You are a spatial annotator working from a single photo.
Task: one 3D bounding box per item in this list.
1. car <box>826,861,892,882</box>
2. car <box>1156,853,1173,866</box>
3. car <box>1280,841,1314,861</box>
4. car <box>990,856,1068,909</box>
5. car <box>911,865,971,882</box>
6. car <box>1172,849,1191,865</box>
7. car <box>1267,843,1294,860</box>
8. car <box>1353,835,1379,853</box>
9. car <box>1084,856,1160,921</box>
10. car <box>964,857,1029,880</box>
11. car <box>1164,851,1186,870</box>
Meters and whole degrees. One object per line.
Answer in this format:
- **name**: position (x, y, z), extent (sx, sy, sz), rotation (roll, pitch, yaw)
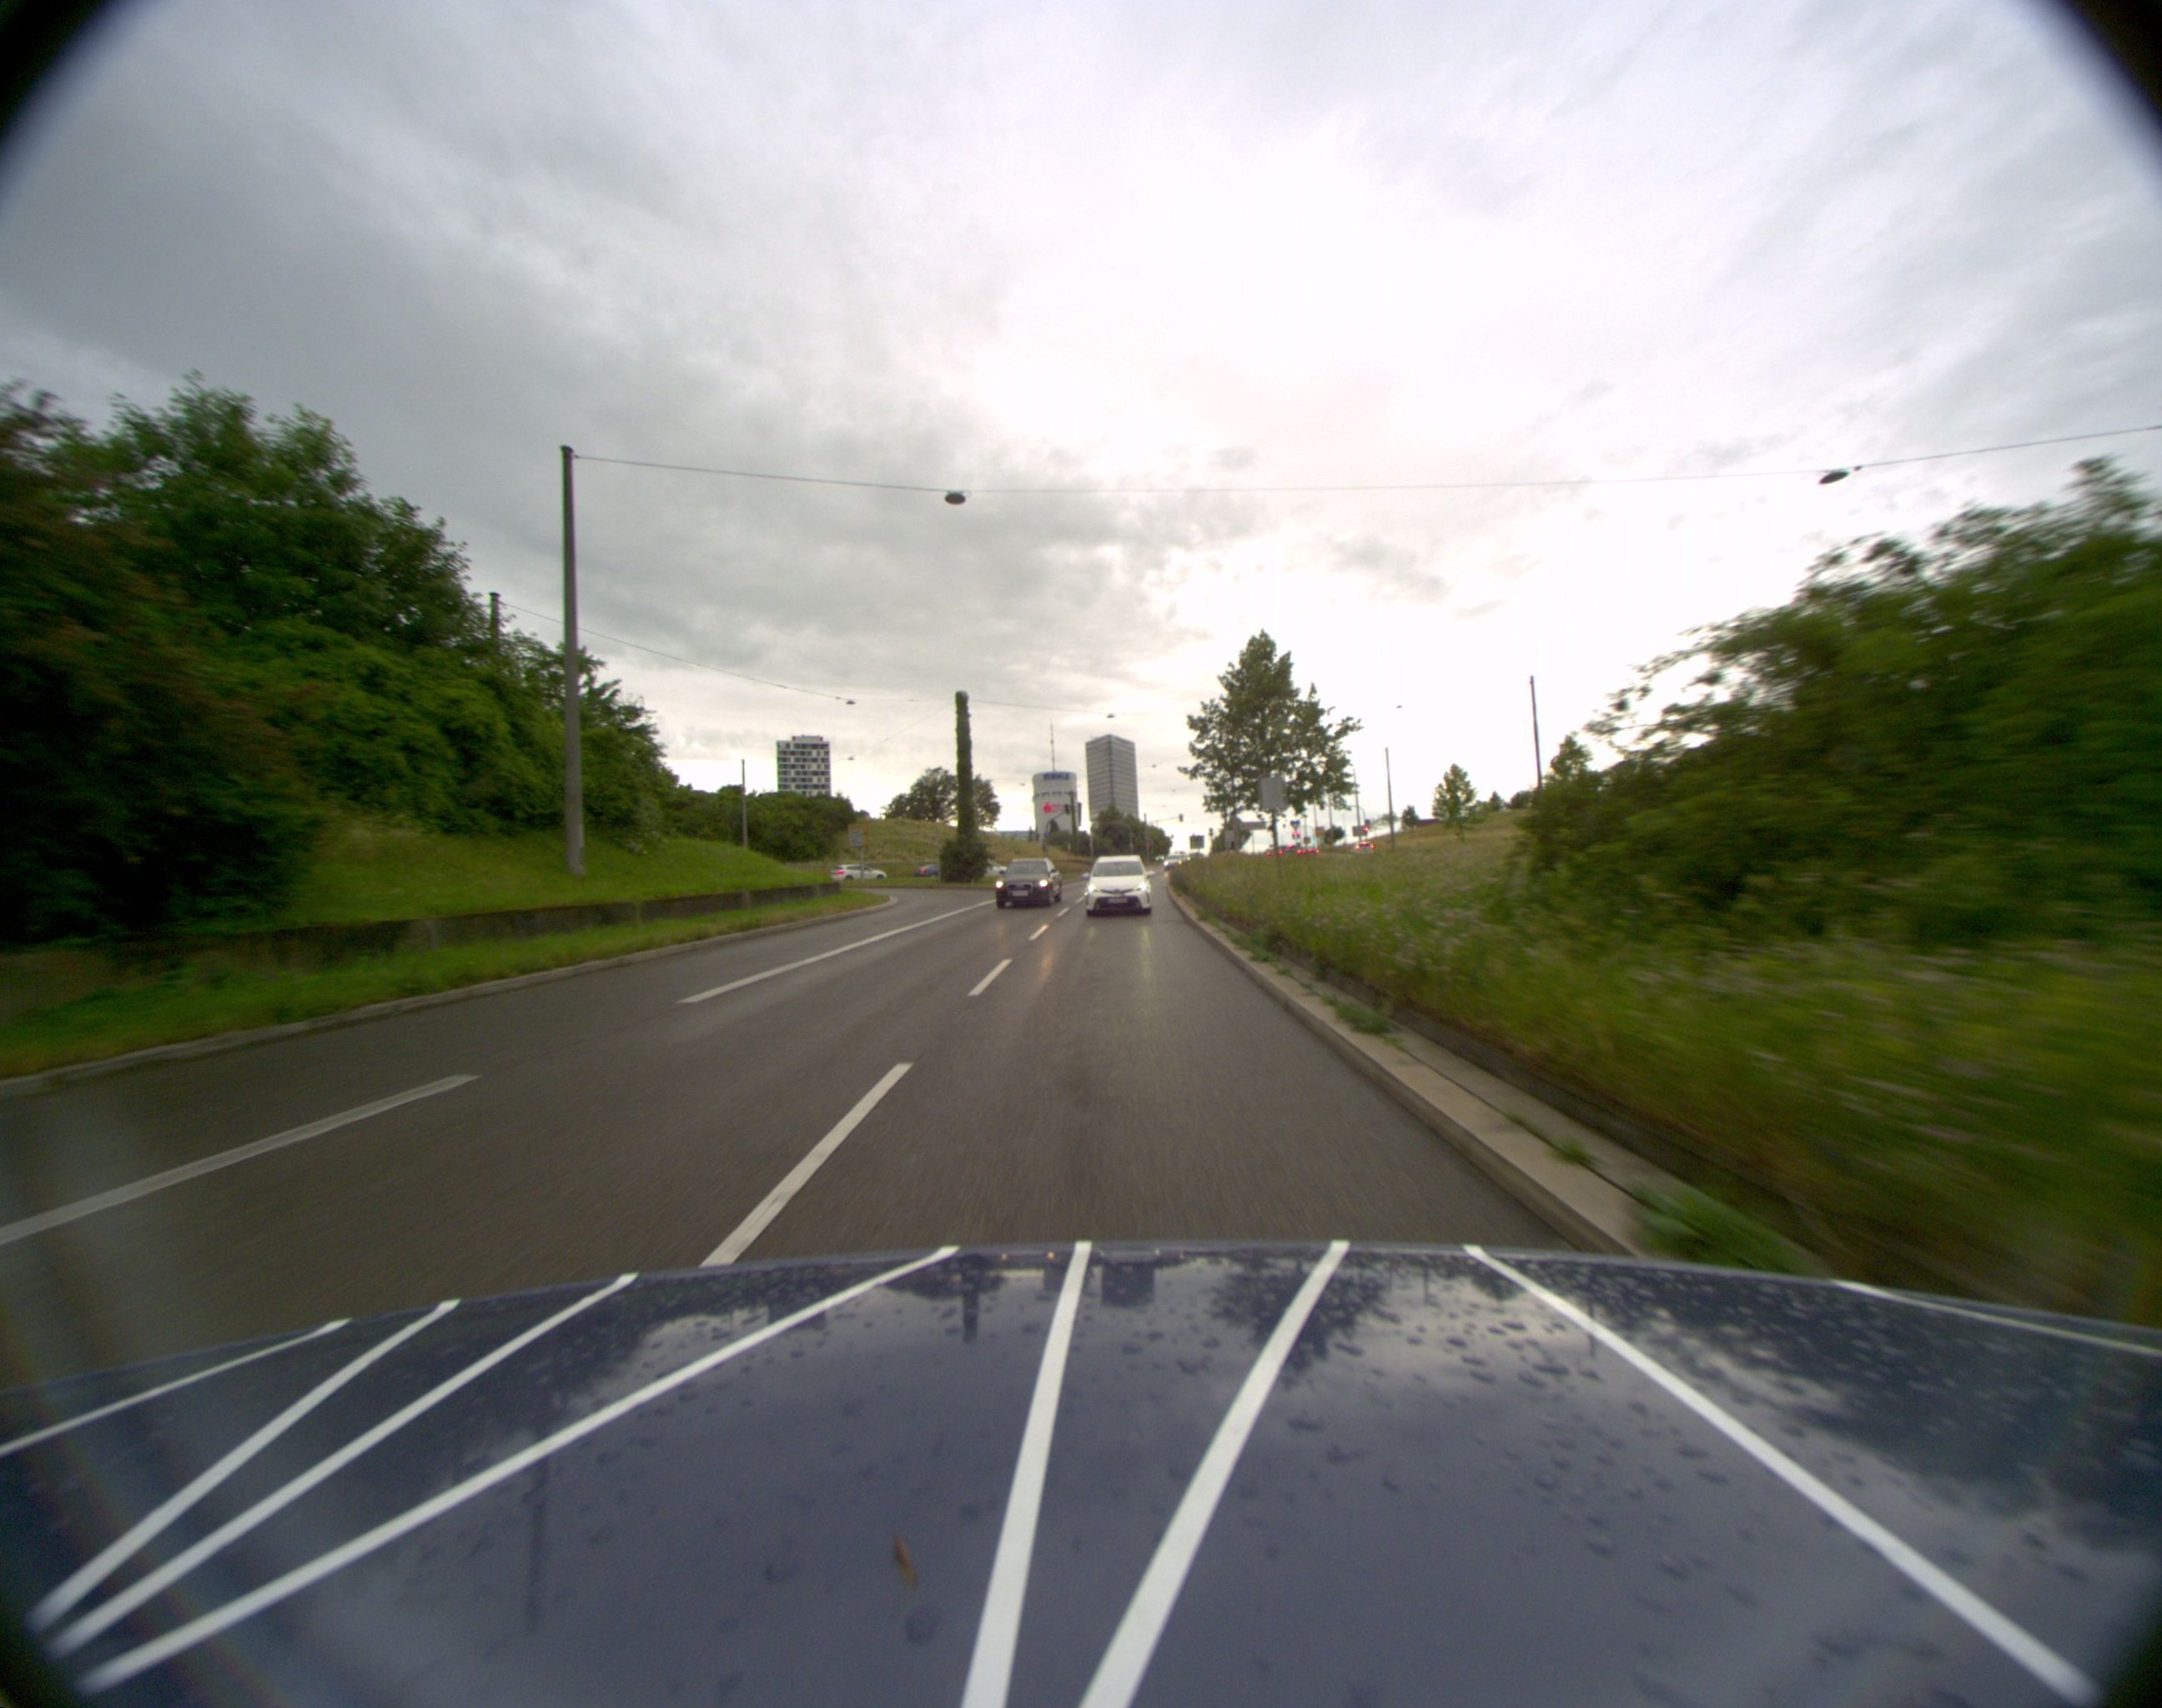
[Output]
- **car**: position (-16.800, 1.315, 57.607), extent (2.070, 1.419, 4.281), rotation (-3, -2, 43)
- **car**: position (11.221, 0.739, 102.260), extent (1.780, 1.591, 4.124), rotation (-3, 0, 12)
- **car**: position (18.219, -0.274, 64.193), extent (1.997, 1.503, 4.440), rotation (-4, 0, 7)
- **car**: position (-1.685, 0.913, 26.370), extent (1.927, 1.591, 4.281), rotation (-2, 0, 6)
- **car**: position (-11.530, 1.598, 62.877), extent (4.563, 1.342, 1.839), rotation (0, -2, -42)
- **car**: position (11.199, 0.321, 84.682), extent (1.997, 1.761, 4.002), rotation (-2, 0, 6)
- **car**: position (18.653, -0.280, 71.335), extent (1.964, 1.414, 4.441), rotation (-4, 0, 9)
- **car**: position (29.180, -0.992, 77.943), extent (1.996, 1.634, 4.804), rotation (-4, 0, 16)
- **car**: position (1.092, 0.896, 21.815), extent (1.924, 1.604, 4.375), rotation (-2, 0, 1)
- **car**: position (-6.904, 1.203, 62.625), extent (4.999, 1.636, 2.070), rotation (-3, 0, -43)
- **car**: position (9.081, 0.613, 73.106), extent (1.997, 1.761, 4.004), rotation (0, -1, 9)
